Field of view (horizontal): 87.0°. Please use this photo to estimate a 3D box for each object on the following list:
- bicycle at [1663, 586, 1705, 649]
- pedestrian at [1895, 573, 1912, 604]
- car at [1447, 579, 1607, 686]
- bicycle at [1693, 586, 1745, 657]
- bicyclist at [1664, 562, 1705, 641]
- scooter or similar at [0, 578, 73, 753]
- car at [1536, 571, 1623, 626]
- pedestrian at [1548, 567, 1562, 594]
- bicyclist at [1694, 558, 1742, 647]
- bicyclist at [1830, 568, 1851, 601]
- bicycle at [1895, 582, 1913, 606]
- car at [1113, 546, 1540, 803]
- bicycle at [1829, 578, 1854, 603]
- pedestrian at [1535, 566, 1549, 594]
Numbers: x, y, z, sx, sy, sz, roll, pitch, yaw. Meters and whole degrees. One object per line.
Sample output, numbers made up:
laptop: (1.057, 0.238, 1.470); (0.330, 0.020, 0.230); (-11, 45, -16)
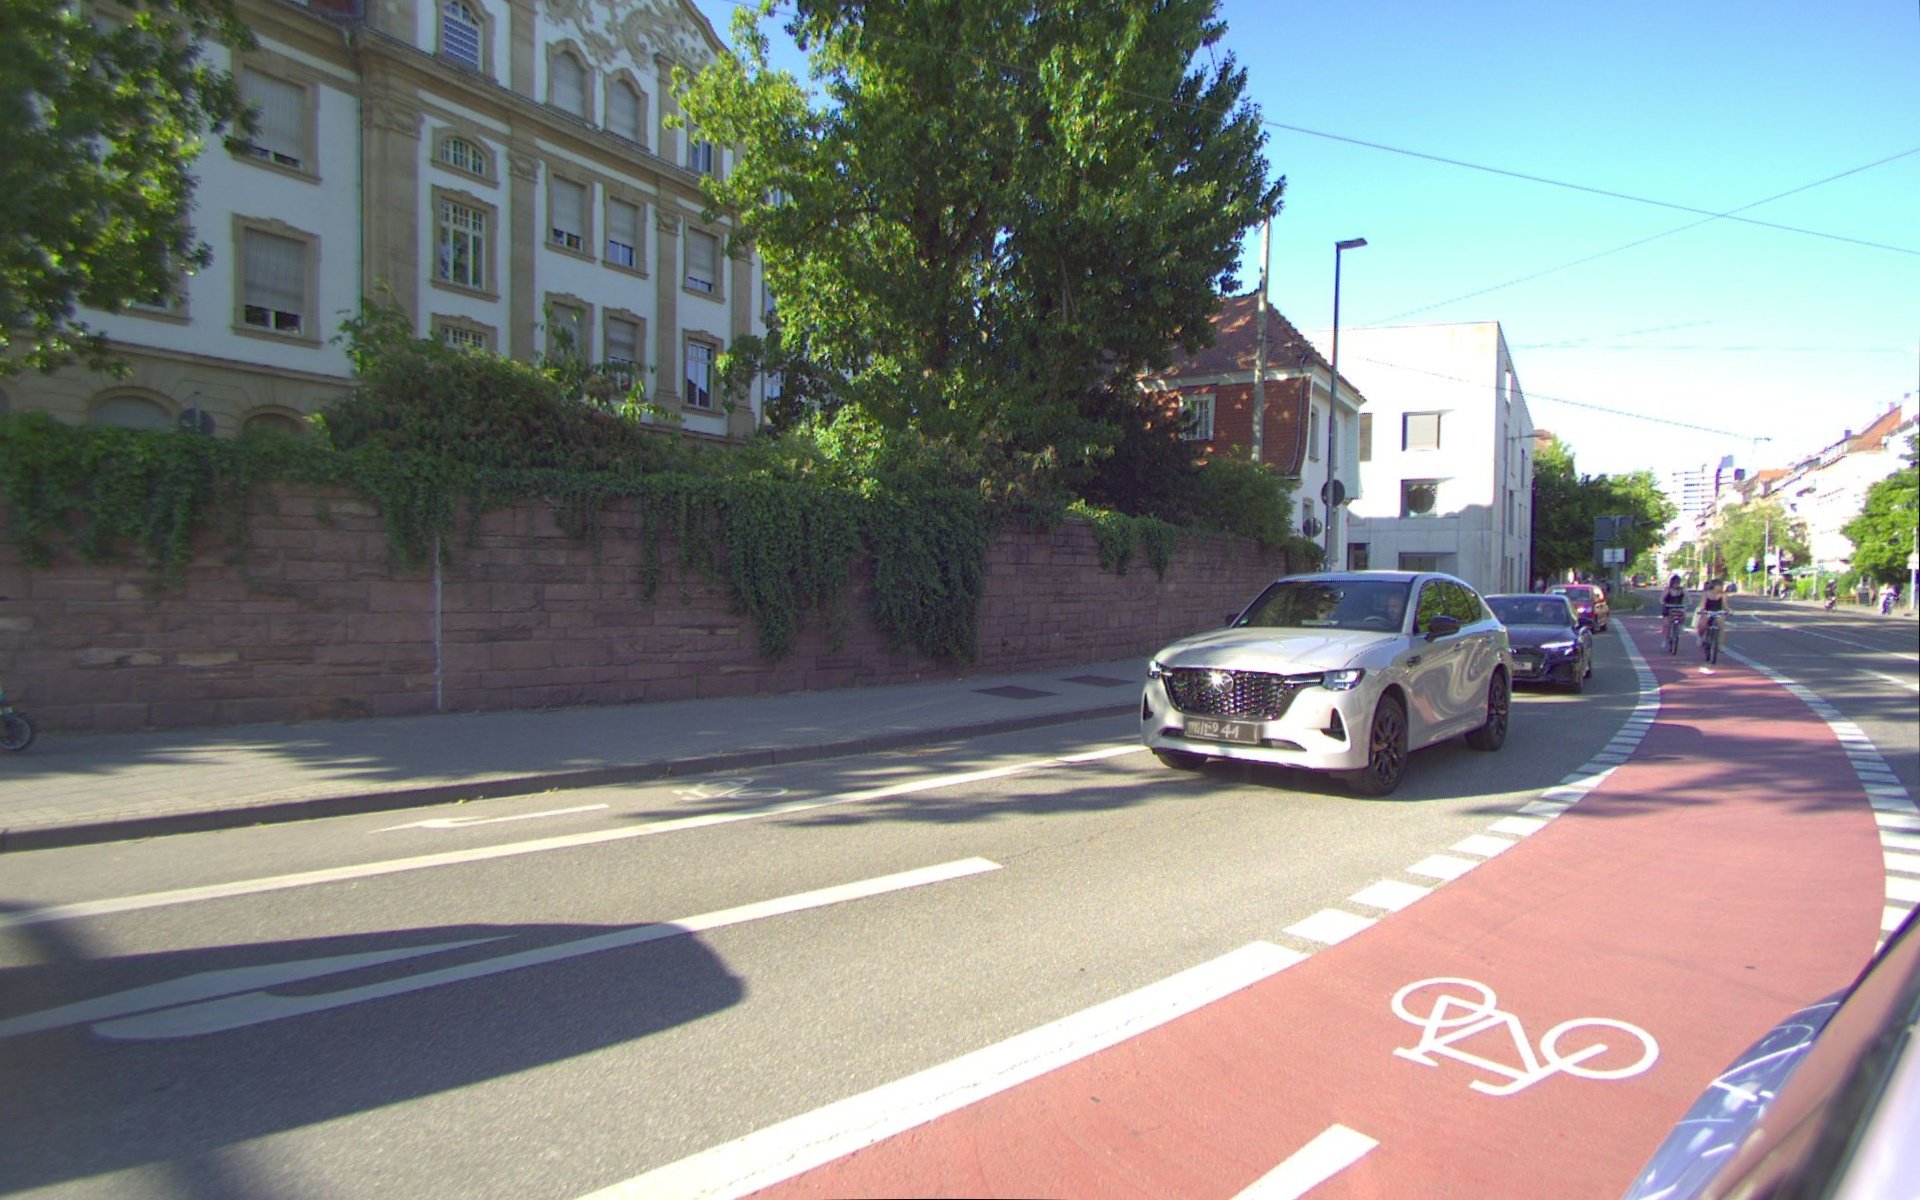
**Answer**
bicycle: (15.856, 0.351, 22.208); (0.672, 1.266, 2.426); (2, 2, 34)
pedestrian: (51.477, -0.642, 55.217); (0.673, 1.668, 0.805); (1, 1, 44)
car: (8.963, 0.406, 15.849); (1.778, 1.451, 3.950); (-1, 1, 35)
bicycle: (14.687, 0.374, 19.628); (0.672, 1.266, 2.426); (2, 2, 34)
bicyclist: (15.860, 0.018, 22.183); (0.671, 1.667, 1.016); (2, 2, 35)
scooter or similar: (-7.668, 0.478, 7.607); (1.394, 1.285, 0.577); (0, 1, -14)
car: (18.999, -0.082, 30.972); (1.644, 1.580, 3.595); (-1, 1, 42)
pedestrian: (36.271, -1.197, 61.671); (0.671, 1.668, 0.807); (1, 1, 35)
bicyclist: (14.690, 0.032, 19.629); (0.671, 1.667, 1.016); (2, 2, 35)
bicyclist: (45.462, -0.803, 52.242); (0.671, 1.667, 1.016); (2, 2, 35)
bicycle: (51.481, -0.342, 55.219); (0.674, 1.266, 2.419); (1, 1, 43)
car: (3.471, 0.458, 9.037); (1.940, 1.713, 4.460); (0, 1, 44)
bicycle: (45.438, -0.499, 52.197); (0.672, 1.266, 2.426); (2, 2, 34)
pedestrian: (35.687, -1.234, 62.087); (0.671, 1.668, 0.807); (1, 1, 35)
